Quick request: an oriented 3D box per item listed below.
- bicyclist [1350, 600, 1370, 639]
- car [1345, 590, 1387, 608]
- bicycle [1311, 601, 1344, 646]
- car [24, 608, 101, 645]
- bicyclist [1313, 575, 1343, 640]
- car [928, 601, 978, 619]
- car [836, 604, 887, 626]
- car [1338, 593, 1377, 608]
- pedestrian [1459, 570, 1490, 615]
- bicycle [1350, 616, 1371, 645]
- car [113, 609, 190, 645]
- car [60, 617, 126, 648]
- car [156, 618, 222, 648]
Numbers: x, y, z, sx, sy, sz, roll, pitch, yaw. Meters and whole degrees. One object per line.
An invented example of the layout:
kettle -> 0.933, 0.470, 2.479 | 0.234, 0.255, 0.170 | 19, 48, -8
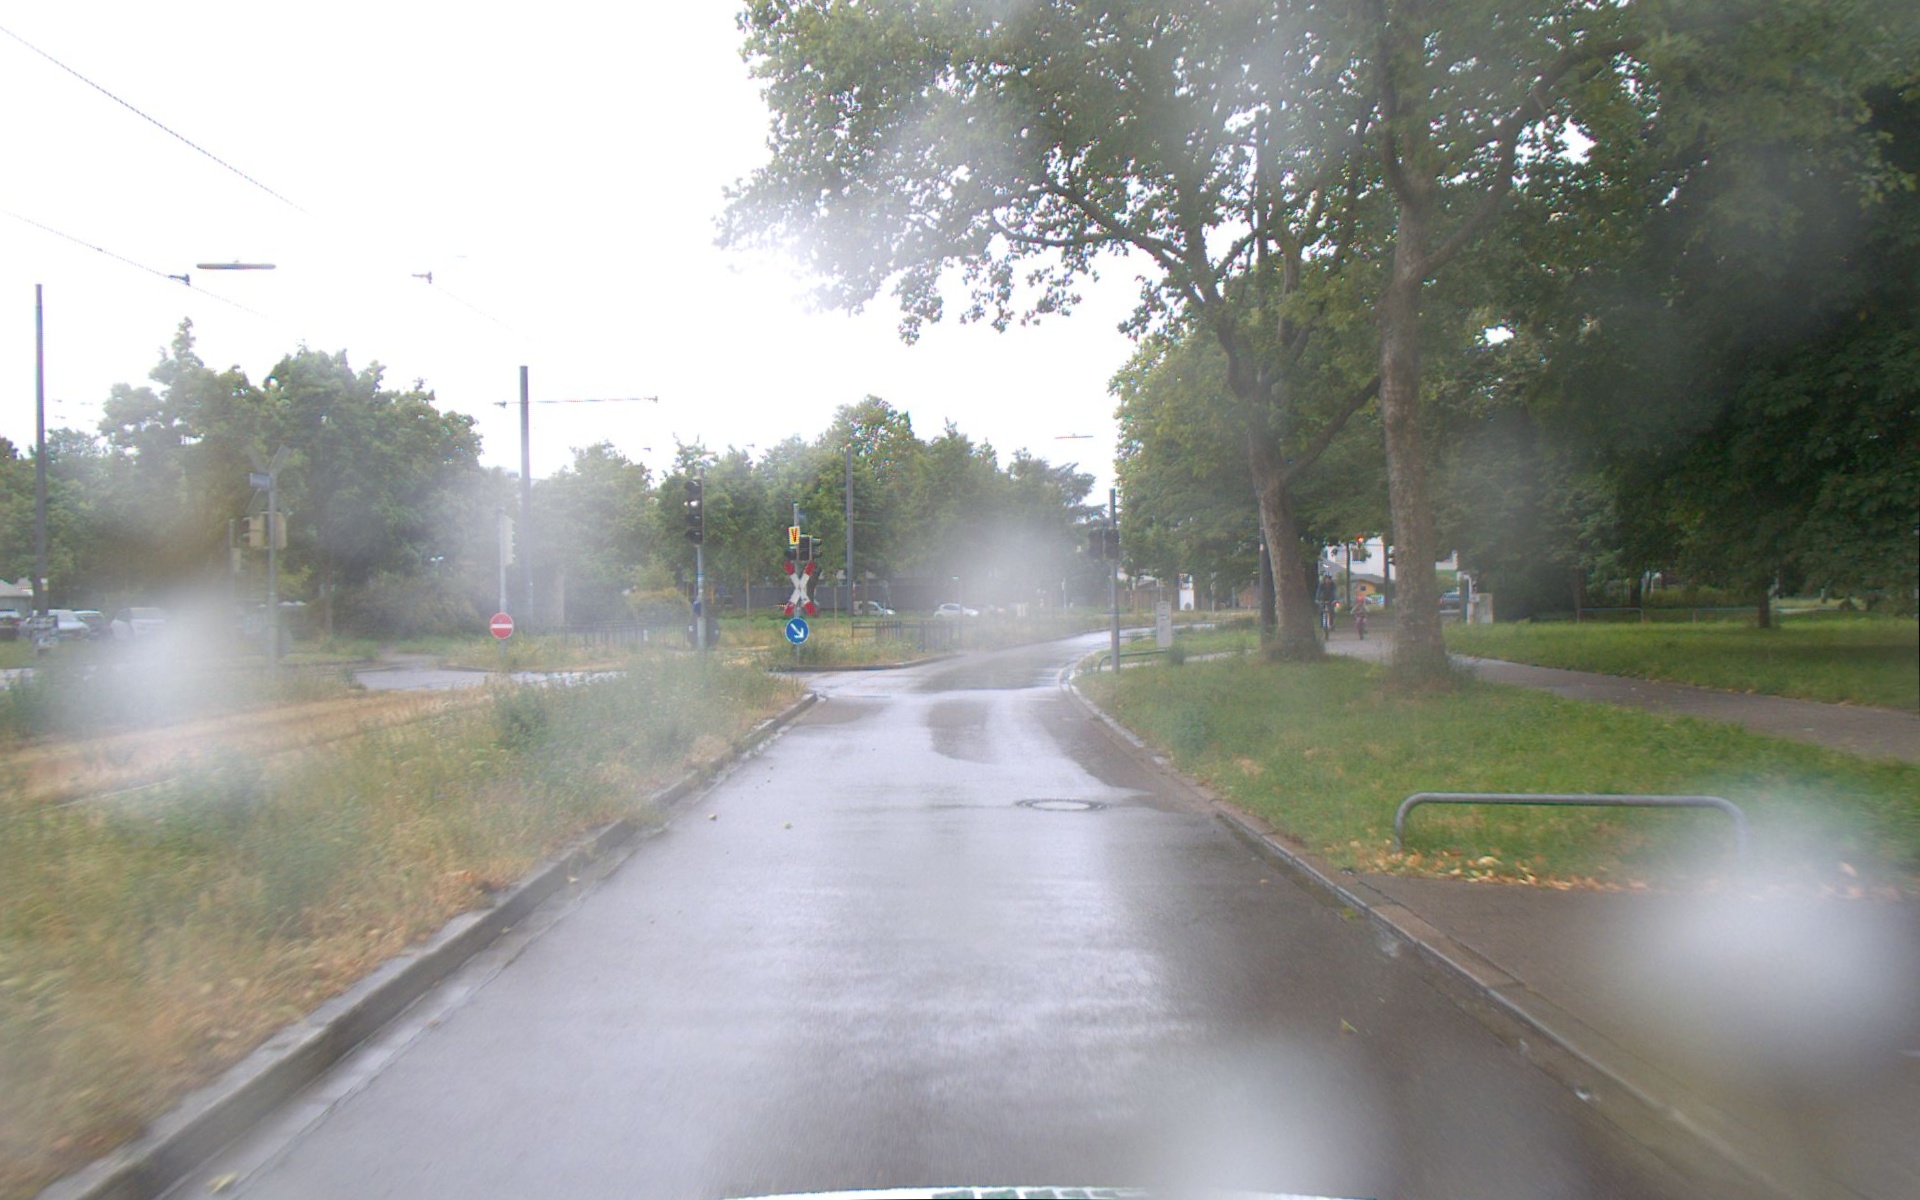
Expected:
bicyclist -> 10.866, 0.524, 44.916 | 0.476, 1.056, 0.592 | -1, 0, 16
car -> 43.798, -0.096, 178.468 | 4.063, 1.892, 1.668 | -2, -1, 34
bicycle -> 10.086, 0.639, 45.312 | 0.696, 1.162, 1.973 | -1, 1, 17
car -> -32.645, 0.968, 60.141 | 1.652, 1.271, 3.684 | -1, 0, -42
bicyclist -> 10.077, 0.192, 45.308 | 0.696, 1.751, 0.958 | -1, 0, 17
car -> -0.582, 0.861, 142.473 | 3.979, 1.525, 1.653 | -2, -1, 16
car -> -8.624, 1.336, 145.066 | 4.120, 1.828, 1.653 | -1, 1, 17
car -> 42.145, 0.022, 175.444 | 3.680, 1.467, 1.759 | -2, -1, 31
pedestrian -> 20.308, -0.297, 65.275 | 1.012, 1.724, 0.853 | -1, 0, 29
bicycle -> 10.877, 0.826, 44.947 | 0.476, 0.721, 1.458 | -1, 0, 16
car -> -30.620, 1.026, 62.597 | 1.652, 1.271, 3.684 | -1, 0, -42
car -> -37.344, 1.417, 71.192 | 1.652, 1.271, 3.684 | -1, 0, -42
car -> -34.669, 1.499, 74.330 | 1.652, 1.271, 3.684 | -1, 0, -42
